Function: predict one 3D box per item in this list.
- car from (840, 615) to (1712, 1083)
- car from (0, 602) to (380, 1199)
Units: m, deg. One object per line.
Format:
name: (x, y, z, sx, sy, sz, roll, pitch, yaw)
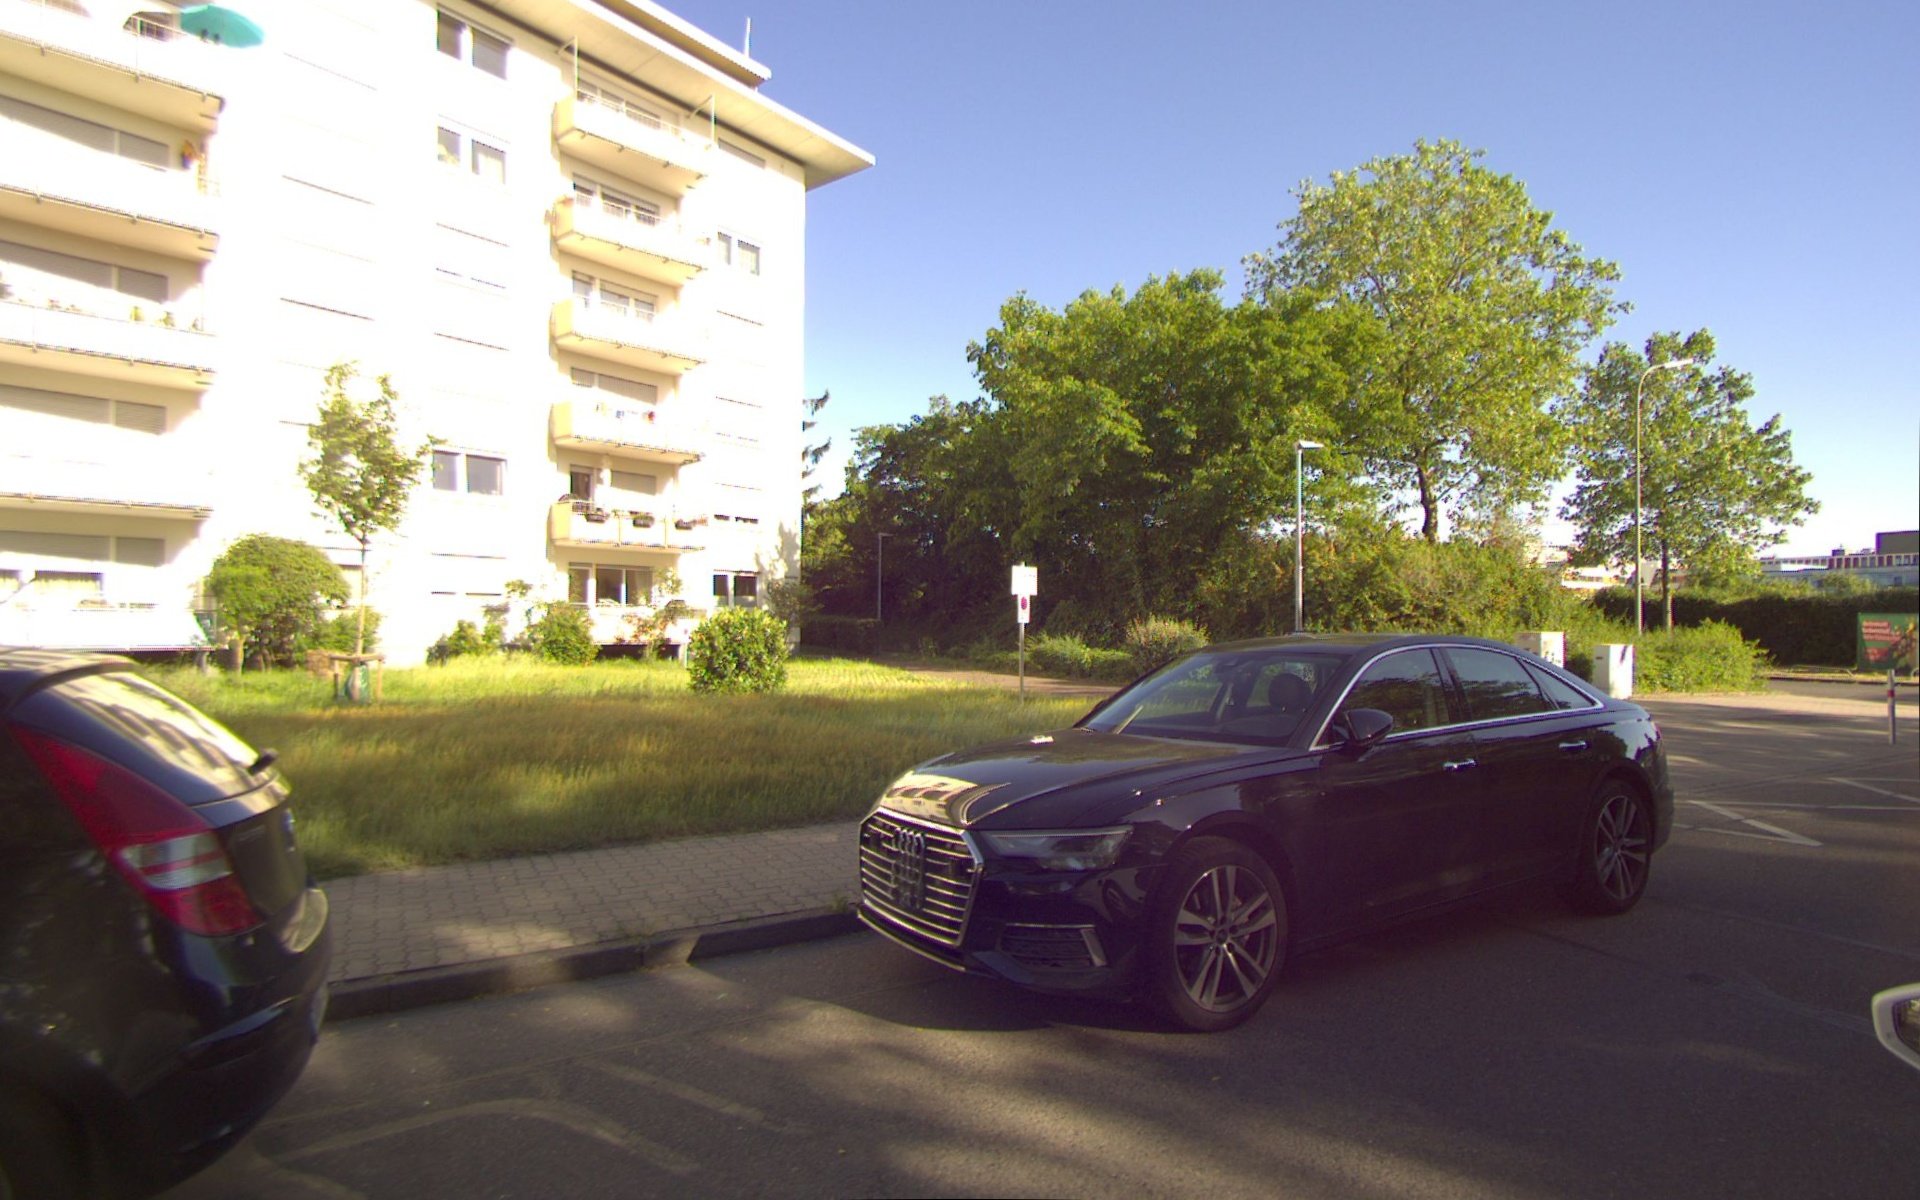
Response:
car: (1.848, 0.861, 5.233, 4.629, 1.483, 1.719, 0, -2, -32)
car: (-3.529, 0.777, 2.091, 3.970, 1.473, 1.832, 0, -3, -30)
